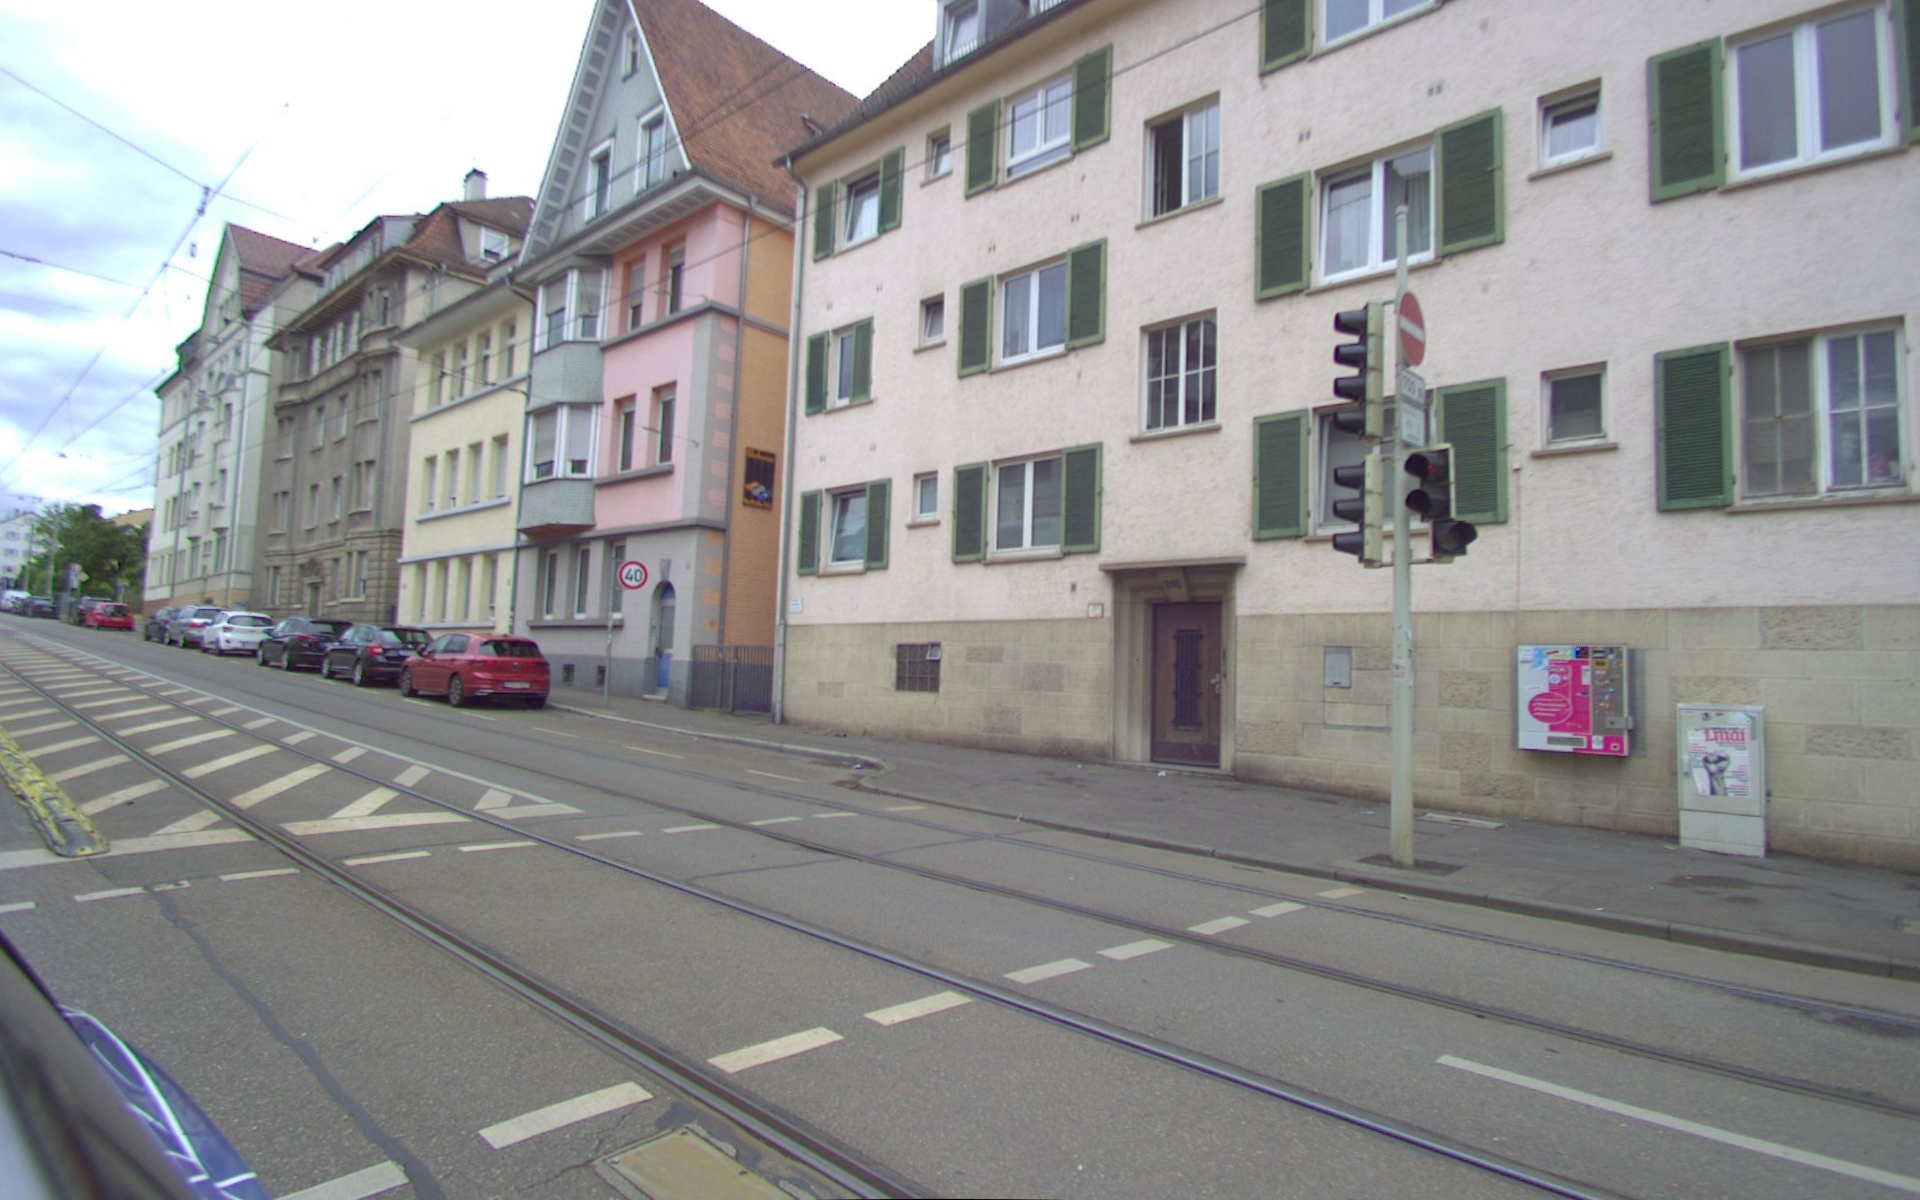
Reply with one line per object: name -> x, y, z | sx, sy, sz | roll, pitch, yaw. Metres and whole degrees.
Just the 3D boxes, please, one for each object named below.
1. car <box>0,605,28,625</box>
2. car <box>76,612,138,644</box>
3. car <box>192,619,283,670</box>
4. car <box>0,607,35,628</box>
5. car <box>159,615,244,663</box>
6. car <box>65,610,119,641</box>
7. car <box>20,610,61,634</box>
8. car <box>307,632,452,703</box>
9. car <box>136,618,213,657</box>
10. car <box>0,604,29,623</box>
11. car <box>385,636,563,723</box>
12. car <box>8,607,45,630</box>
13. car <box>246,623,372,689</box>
car -> -81.908, 1.304, 87.291 | 3.951, 1.537, 1.720 | 1, -5, 42
car -> -46.142, 1.511, 54.710 | 3.948, 1.470, 1.722 | 1, -5, 39
car -> -24.598, 1.496, 34.408 | 3.801, 1.522, 1.719 | 0, -4, 43
car -> -78.179, 1.422, 83.857 | 3.951, 1.537, 1.720 | 1, -5, 42
car -> -28.581, 1.449, 38.088 | 4.142, 1.579, 1.720 | 1, -3, 42
car -> -49.704, 1.442, 57.919 | 3.951, 1.537, 1.720 | 1, -5, 42
car -> -68.512, 1.631, 75.415 | 3.951, 1.537, 1.720 | 1, -5, 42
car -> -14.086, 1.599, 24.476 | 4.242, 1.421, 1.765 | 0, -6, 43
car -> -32.238, 1.528, 41.497 | 4.044, 1.391, 1.720 | 1, -4, 42
car -> -85.834, 1.190, 91.677 | 3.951, 1.537, 1.720 | 1, -5, 42
car -> -10.051, 1.590, 20.773 | 4.262, 1.449, 1.765 | 0, -6, 43
car -> -73.229, 1.453, 79.387 | 3.952, 1.537, 1.720 | 0, -6, 43
car -> -18.062, 1.509, 28.000 | 4.526, 1.522, 1.765 | 0, -6, 43
